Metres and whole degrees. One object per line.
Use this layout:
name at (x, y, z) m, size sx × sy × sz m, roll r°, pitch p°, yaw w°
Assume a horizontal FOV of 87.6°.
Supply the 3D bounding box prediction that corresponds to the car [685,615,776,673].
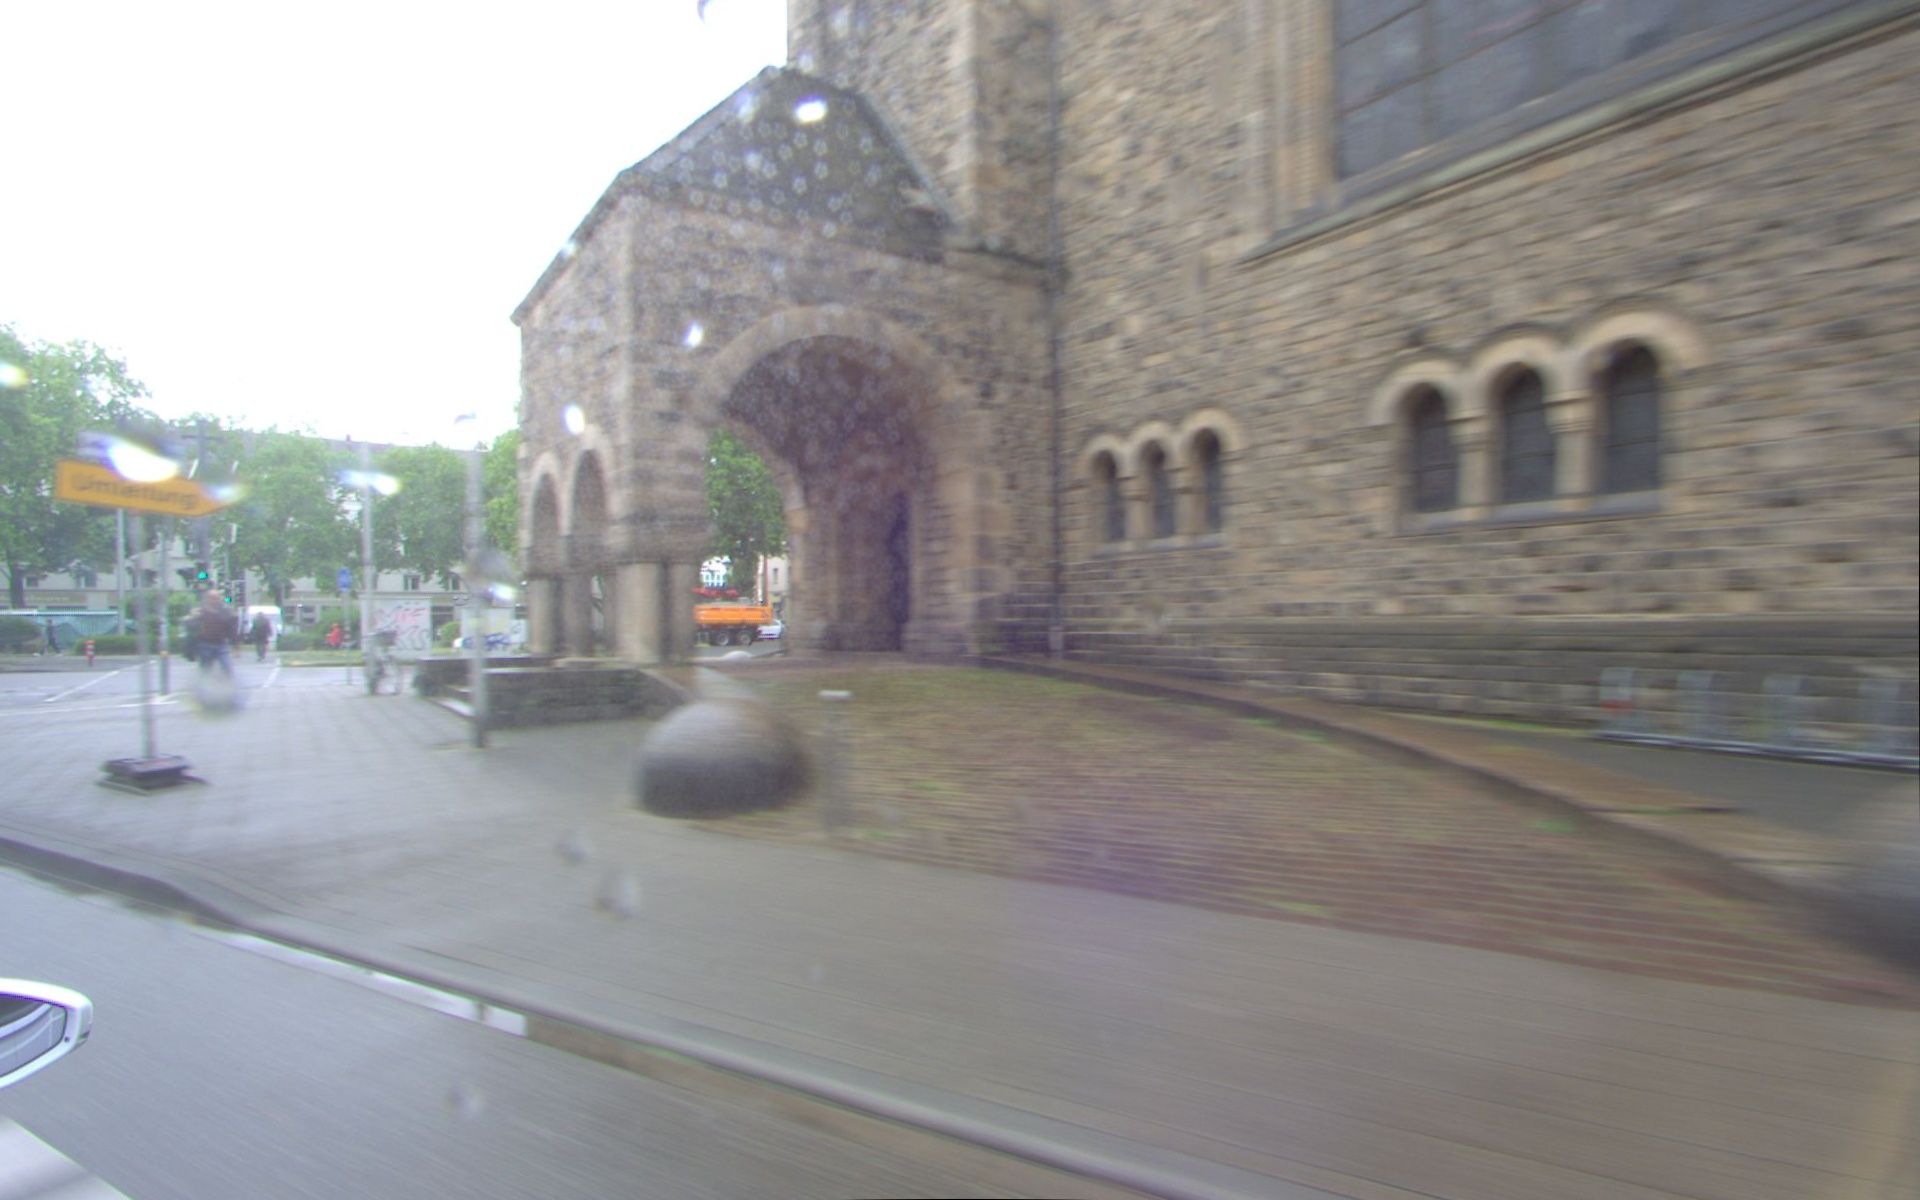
car at (-6.385, 1.167, 27.687) m, size 1.388 × 1.498 × 3.200 m, roll 0°, pitch -1°, yaw -34°

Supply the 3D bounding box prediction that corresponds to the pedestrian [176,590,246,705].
pedestrian at (-12.072, 0.742, 16.134) m, size 0.780 × 1.782 × 0.936 m, roll -1°, pitch 1°, yaw -43°

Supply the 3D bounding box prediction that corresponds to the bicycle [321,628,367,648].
bicycle at (-30.873, 1.902, 50.231) m, size 1.947 × 0.923 × 0.556 m, roll 0°, pitch 0°, yaw -35°

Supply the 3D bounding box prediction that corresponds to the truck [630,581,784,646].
truck at (-14.481, 0.762, 57.769) m, size 8.329 × 3.570 × 2.361 m, roll 0°, pitch 0°, yaw -35°

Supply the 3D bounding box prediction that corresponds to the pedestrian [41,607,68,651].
pedestrian at (-42.665, 1.354, 47.177) m, size 0.797 × 2.040 × 0.586 m, roll -1°, pitch 0°, yaw -31°

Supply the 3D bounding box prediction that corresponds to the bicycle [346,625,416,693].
bicycle at (-10.521, 1.045, 18.167) m, size 2.049 × 1.169 × 0.327 m, roll -1°, pitch 0°, yaw 38°

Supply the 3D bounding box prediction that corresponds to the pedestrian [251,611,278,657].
pedestrian at (-25.609, 1.234, 36.900) m, size 0.775 × 1.667 × 0.651 m, roll -1°, pitch 1°, yaw -34°

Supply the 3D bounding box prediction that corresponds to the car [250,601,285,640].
car at (-47.469, 1.394, 68.694) m, size 1.888 × 2.588 × 4.757 m, roll 0°, pitch -1°, yaw -34°

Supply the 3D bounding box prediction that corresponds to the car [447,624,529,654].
car at (-24.012, 1.952, 50.998) m, size 3.527 × 1.405 × 1.617 m, roll 0°, pitch 0°, yaw -36°

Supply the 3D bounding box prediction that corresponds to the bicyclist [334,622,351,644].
bicyclist at (-30.941, 1.649, 50.182) m, size 0.672 × 1.039 × 0.556 m, roll 0°, pitch 0°, yaw -34°
